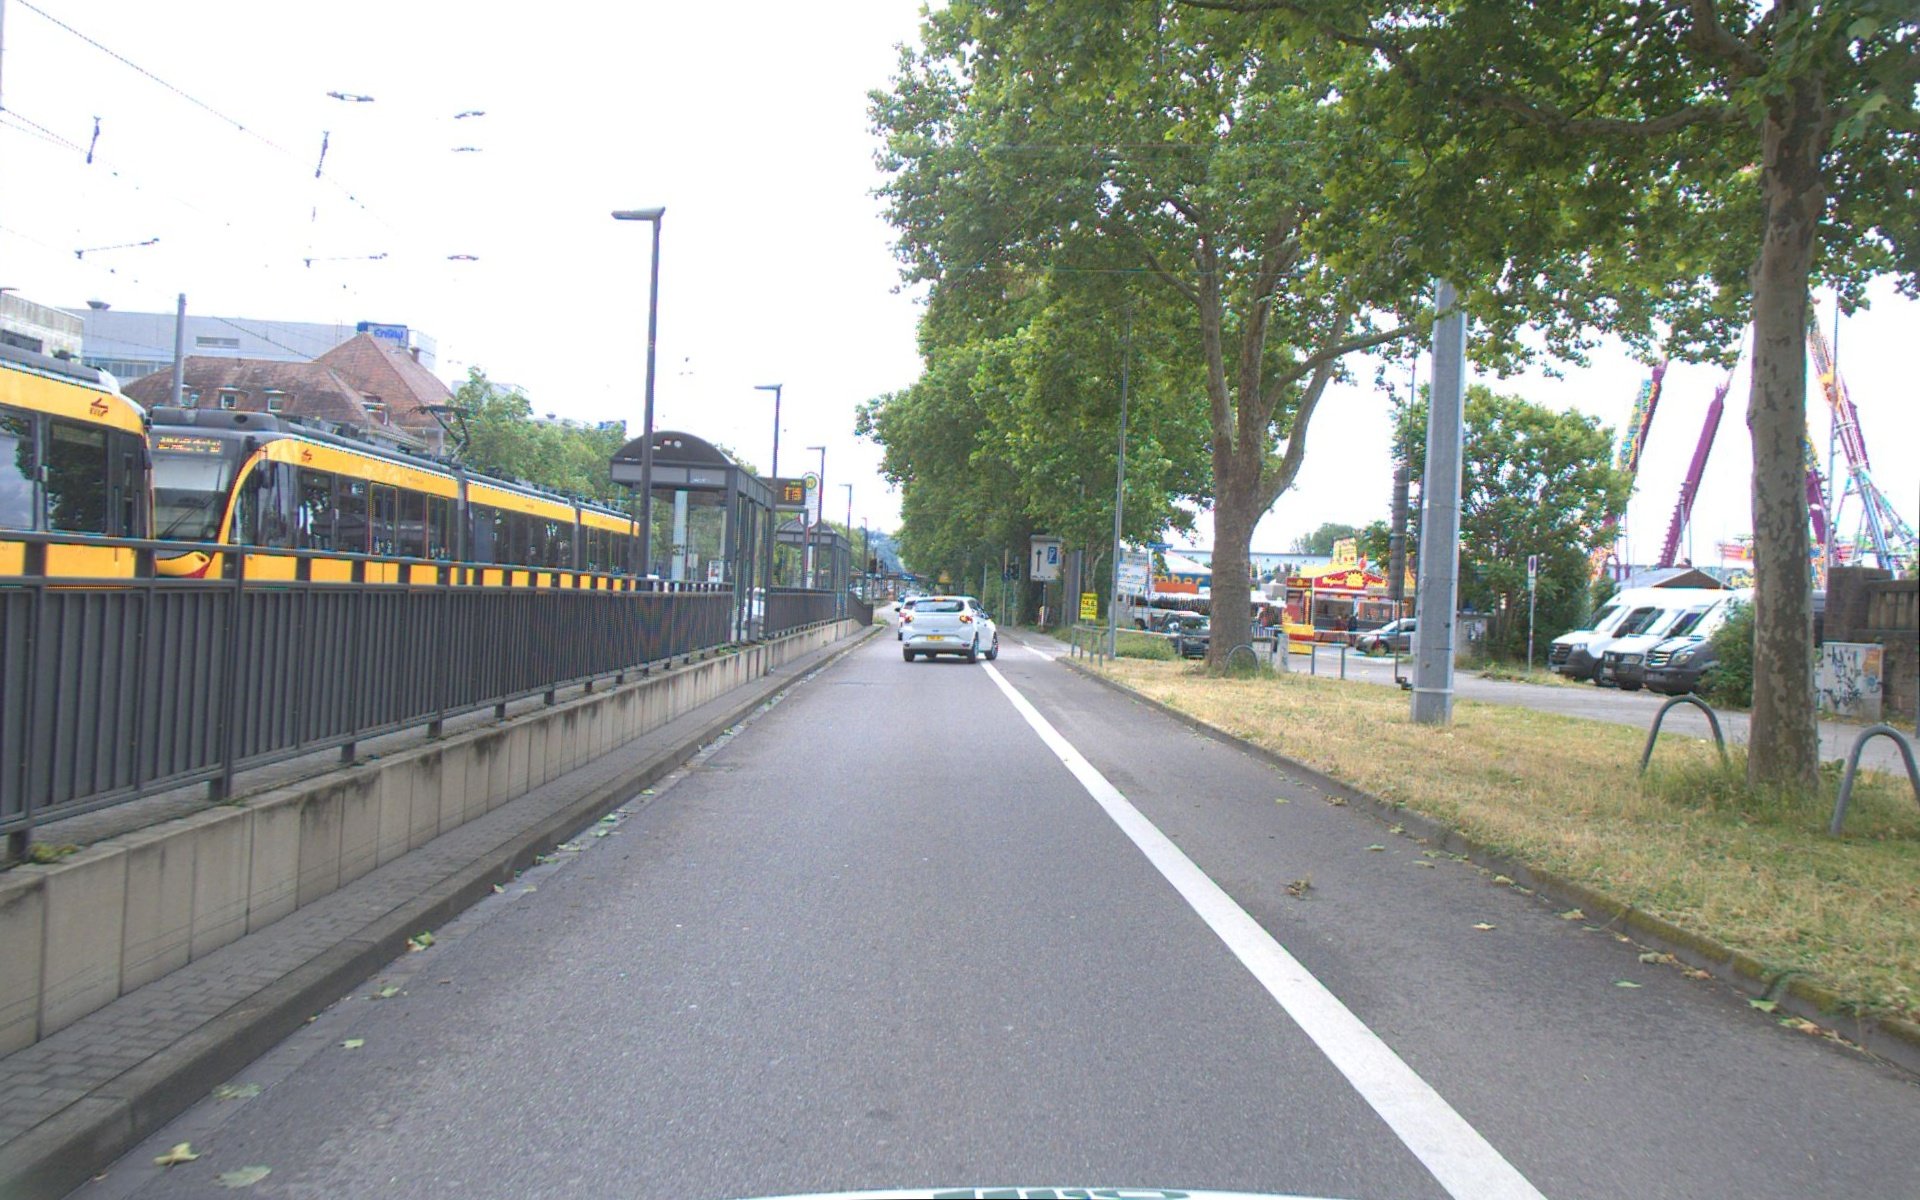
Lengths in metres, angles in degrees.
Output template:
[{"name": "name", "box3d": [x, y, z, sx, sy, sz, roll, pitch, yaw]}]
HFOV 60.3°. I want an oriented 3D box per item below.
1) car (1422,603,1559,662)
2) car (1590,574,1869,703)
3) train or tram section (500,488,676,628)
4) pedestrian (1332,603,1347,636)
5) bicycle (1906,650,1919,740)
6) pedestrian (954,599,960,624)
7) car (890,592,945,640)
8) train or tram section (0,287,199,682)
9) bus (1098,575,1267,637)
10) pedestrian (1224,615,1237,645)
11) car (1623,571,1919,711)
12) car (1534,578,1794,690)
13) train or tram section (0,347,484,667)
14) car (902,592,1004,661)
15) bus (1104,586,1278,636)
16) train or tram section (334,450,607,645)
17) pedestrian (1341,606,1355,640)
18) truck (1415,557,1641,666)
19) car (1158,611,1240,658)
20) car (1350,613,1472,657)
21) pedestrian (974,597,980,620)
[{"name": "car", "box3d": [20.103, 1.202, 62.791, 4.482, 2.049, 1.999, 2, 1, -3]}, {"name": "car", "box3d": [18.526, 0.910, 39.972, 5.670, 2.579, 2.039, 5, -1, -2]}, {"name": "train or tram section", "box3d": [-12.974, -1.267, 59.392, 3.116, 4.252, 14.729, 2, 0, -1]}, {"name": "pedestrian", "box3d": [19.675, 1.015, 85.709, 0.514, 1.716, 0.492, 3, -1, -18]}, {"name": "bicycle", "box3d": [12.878, 1.203, 20.624, 1.883, 1.110, 0.549, 1, 0, -4]}, {"name": "pedestrian", "box3d": [-0.258, 0.922, 136.996, 0.387, 2.049, 0.403, 2, -1, 14]}, {"name": "car", "box3d": [-1.481, 0.544, 58.977, 1.803, 1.579, 4.000, 2, 0, 0]}, {"name": "train or tram section", "box3d": [-11.909, -1.317, 15.753, 3.116, 4.252, 13.616, 2, 0, -1]}, {"name": "bus", "box3d": [12.468, 0.331, 92.976, 9.095, 3.011, 1.998, 3, -1, -4]}, {"name": "pedestrian", "box3d": [13.653, 1.492, 83.585, 0.483, 1.488, 0.523, 2, -1, -4]}, {"name": "car", "box3d": [18.095, 0.887, 36.787, 5.668, 2.565, 2.171, 5, 0, 0]}, {"name": "car", "box3d": [18.372, 0.873, 43.334, 5.904, 2.600, 2.098, 3, -1, -3]}, {"name": "train or tram section", "box3d": [-12.244, -1.225, 29.951, 3.116, 4.252, 14.729, 2, 0, -1]}, {"name": "car", "box3d": [-0.108, 0.620, 39.596, 1.845, 1.478, 4.003, 2, 0, 8]}, {"name": "bus", "box3d": [12.504, 0.610, 89.754, 9.095, 2.266, 1.998, 3, -1, -4]}, {"name": "train or tram section", "box3d": [-12.593, -1.128, 44.648, 3.116, 4.252, 14.729, 2, 0, -1]}, {"name": "pedestrian", "box3d": [20.219, 1.190, 86.176, 0.514, 1.716, 0.492, 3, -1, -18]}, {"name": "truck", "box3d": [22.552, 0.459, 65.921, 8.027, 3.889, 2.598, 3, -1, -3]}, {"name": "car", "box3d": [8.096, 1.146, 56.375, 1.827, 1.455, 3.995, 3, 0, -6]}, {"name": "car", "box3d": [18.749, 1.448, 68.927, 4.482, 1.603, 1.999, 3, -1, -3]}, {"name": "pedestrian", "box3d": [1.234, 0.607, 119.165, 0.387, 1.613, 0.538, 2, -1, 4]}]
